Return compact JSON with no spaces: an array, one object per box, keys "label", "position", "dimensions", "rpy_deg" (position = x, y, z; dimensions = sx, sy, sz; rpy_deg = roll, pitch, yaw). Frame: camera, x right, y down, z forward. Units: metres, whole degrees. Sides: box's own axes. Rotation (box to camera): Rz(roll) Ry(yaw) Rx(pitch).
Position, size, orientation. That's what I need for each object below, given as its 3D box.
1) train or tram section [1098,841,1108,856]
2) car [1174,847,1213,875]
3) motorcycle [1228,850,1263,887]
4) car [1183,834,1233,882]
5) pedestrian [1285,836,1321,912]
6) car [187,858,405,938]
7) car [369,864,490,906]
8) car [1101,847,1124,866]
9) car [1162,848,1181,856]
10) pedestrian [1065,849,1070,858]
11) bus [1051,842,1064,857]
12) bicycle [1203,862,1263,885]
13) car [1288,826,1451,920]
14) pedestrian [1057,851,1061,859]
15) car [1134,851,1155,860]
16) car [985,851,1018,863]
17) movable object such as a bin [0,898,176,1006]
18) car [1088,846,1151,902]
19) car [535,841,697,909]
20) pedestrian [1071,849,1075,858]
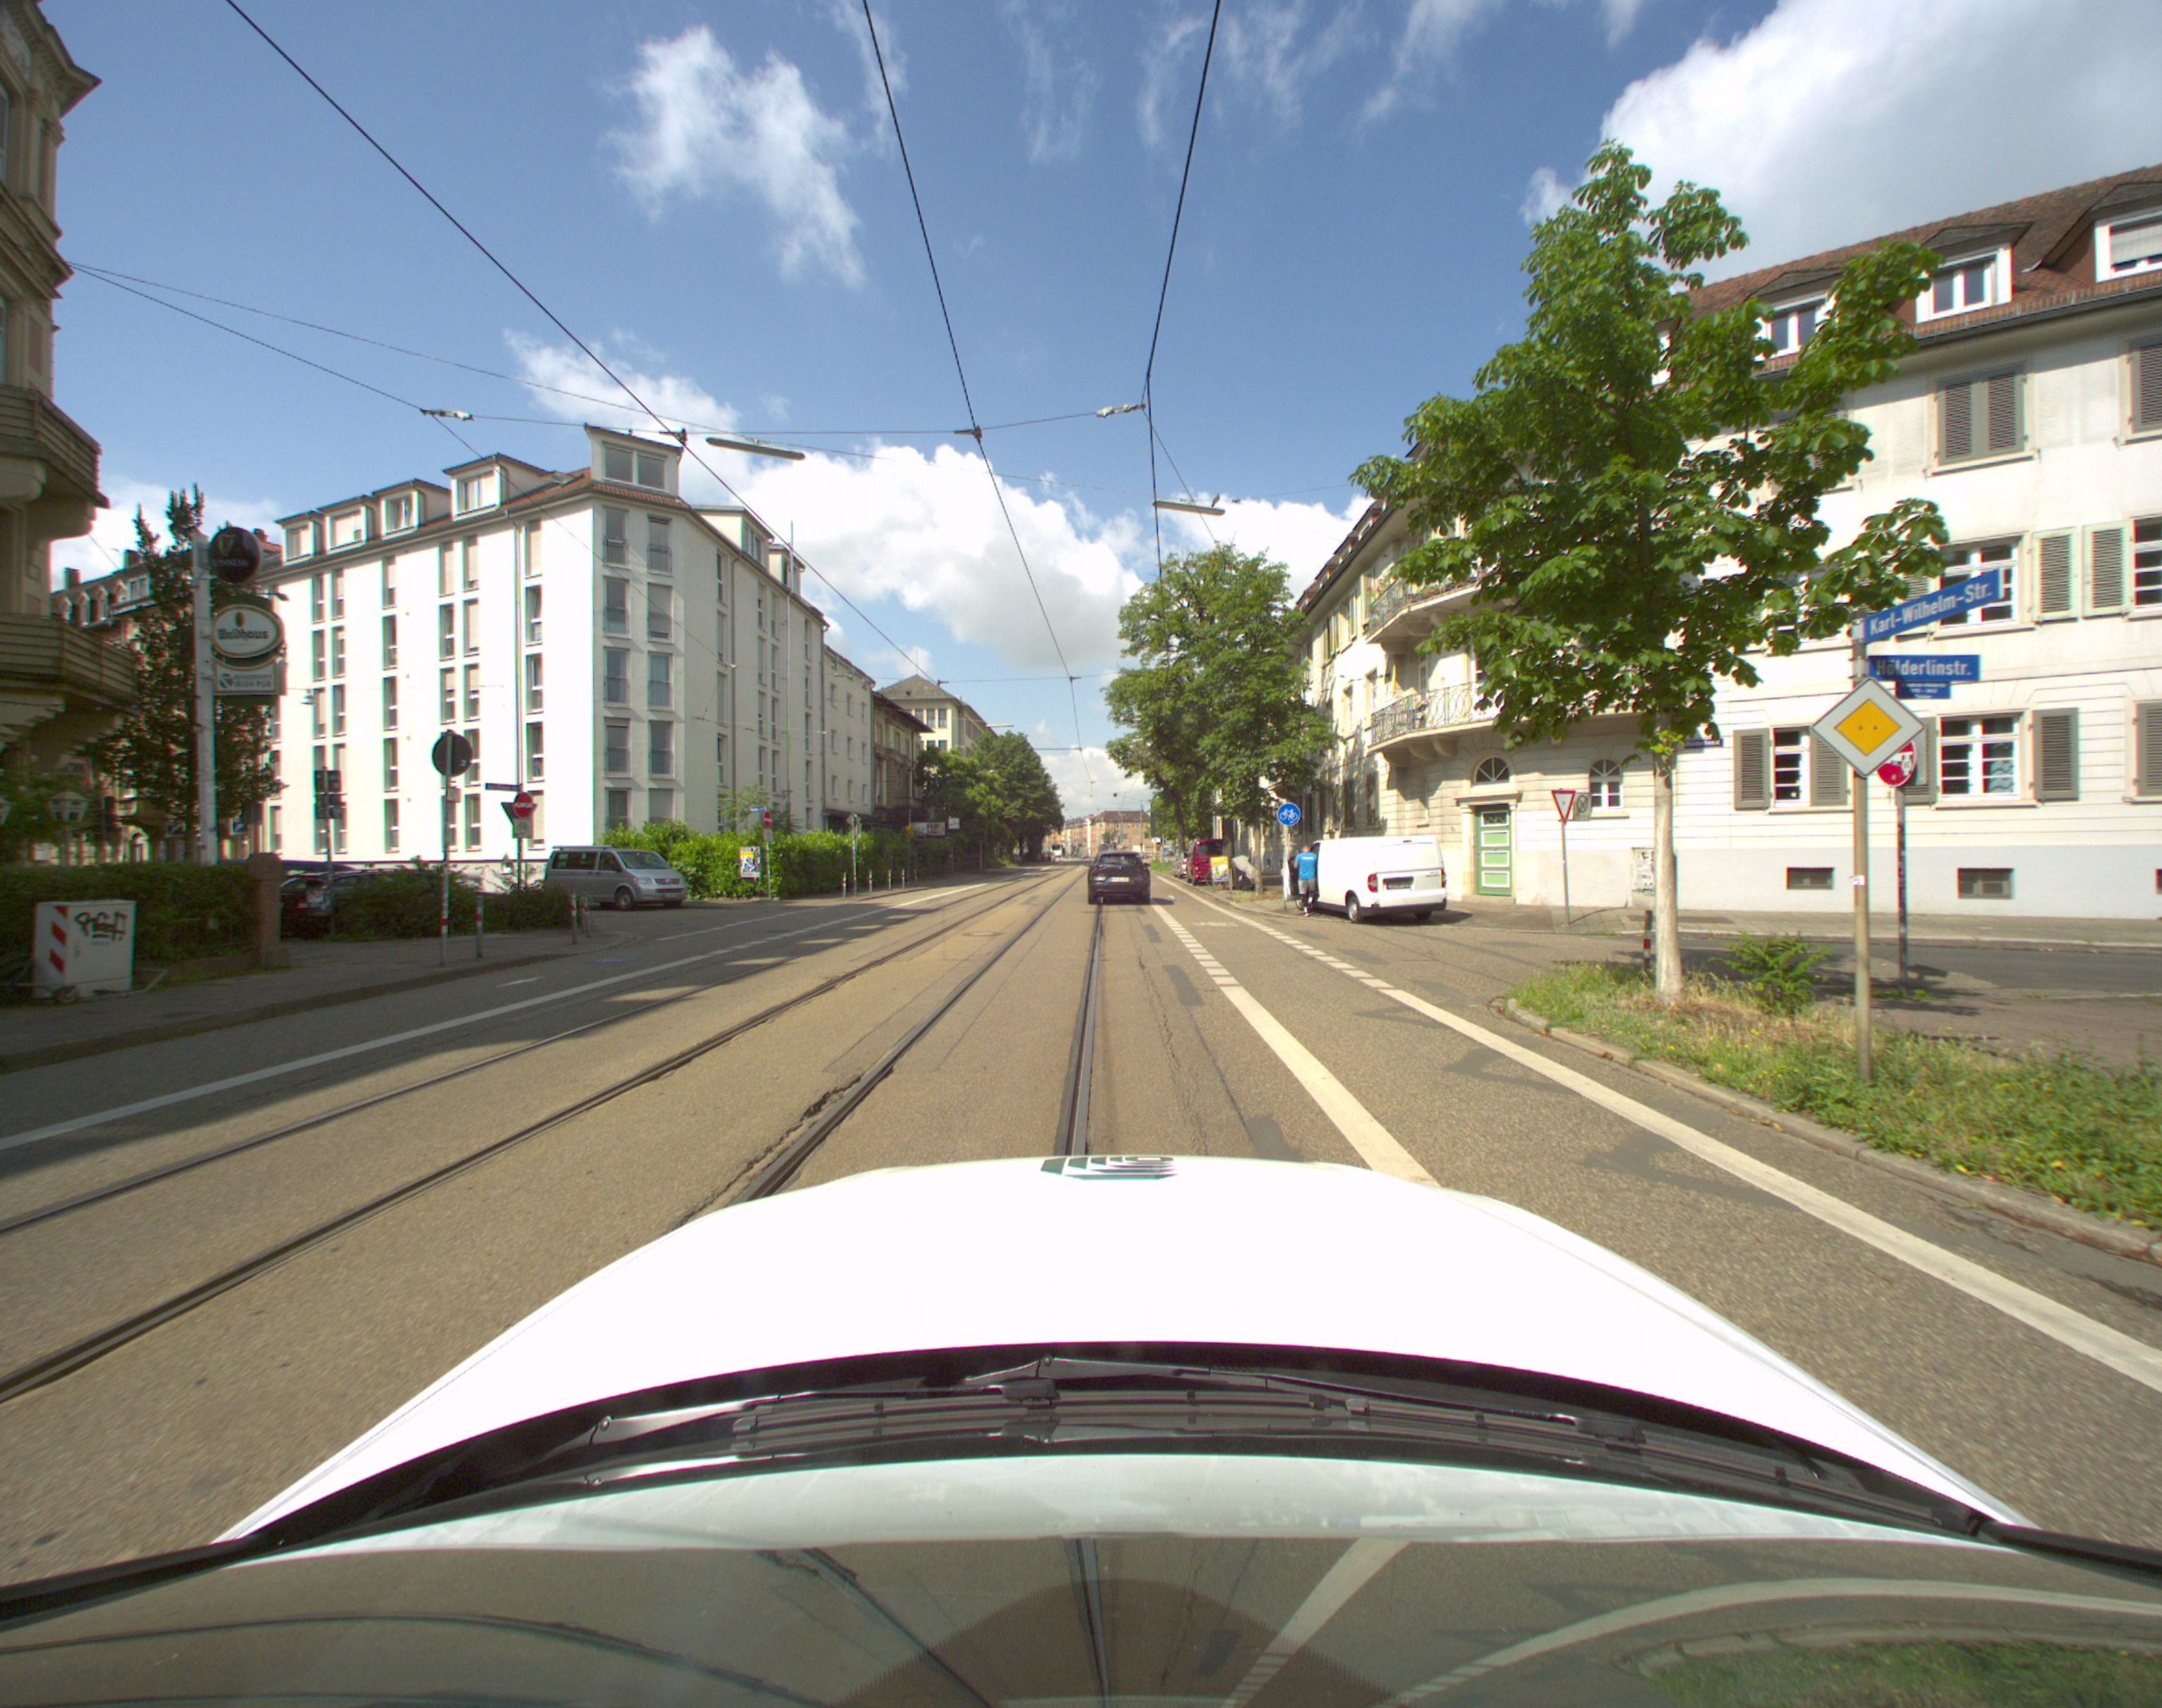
[{"label":"train or tram section","position":[5.914,-1.495,216.071],"dimensions":[2.561,3.772,13.033],"rpy_deg":[-1,0,2]},{"label":"car","position":[6.022,0.367,43.929],"dimensions":[1.714,1.424,3.590],"rpy_deg":[-1,0,1]},{"label":"motorcycle","position":[5.945,0.514,29.533],"dimensions":[0.791,1.271,2.423],"rpy_deg":[-1,0,1]},{"label":"car","position":[5.612,0.163,36.314],"dimensions":[1.714,1.968,4.209],"rpy_deg":[-1,0,2]},{"label":"pedestrian","position":[5.486,0.476,20.119],"dimensions":[0.809,1.835,0.966],"rpy_deg":[0,0,17]},{"label":"car","position":[-17.374,0.910,18.203],"dimensions":[1.377,1.567,3.201],"rpy_deg":[-1,0,21]},{"label":"car","position":[-23.947,1.134,29.941],"dimensions":[3.924,1.413,1.800],"rpy_deg":[-1,0,23]},{"label":"car","position":[2.735,0.198,71.894],"dimensions":[1.986,1.529,4.001],"rpy_deg":[1,0,1]},{"label":"car","position":[19.901,-0.376,178.976],"dimensions":[3.830,1.618,1.622],"rpy_deg":[1,0,-30]},{"label":"pedestrian","position":[-2.888,-0.161,174.519],"dimensions":[0.882,2.013,0.617],"rpy_deg":[-1,0,-3]},{"label":"bus","position":[-5.707,-1.042,196.284],"dimensions":[2.683,3.421,11.000],"rpy_deg":[1,0,-4]},{"label":"bicycle","position":[6.038,0.761,32.474],"dimensions":[2.267,0.861,0.672],"rpy_deg":[-1,0,0]},{"label":"car","position":[6.674,0.371,19.513],"dimensions":[1.784,1.938,4.983],"rpy_deg":[-1,0,-5]},{"label":"pedestrian","position":[-4.043,0.126,150.238],"dimensions":[0.749,1.510,0.823],"rpy_deg":[-1,0,-3]},{"label":"car","position":[12.603,0.357,161.491],"dimensions":[3.815,1.618,1.628],"rpy_deg":[1,0,-17]},{"label":"car","position":[-9.387,0.376,95.813],"dimensions":[3.737,1.287,1.609],"rpy_deg":[1,0,-3]},{"label":"movable object such as a bin","position":[-10.564,0.994,8.595],"dimensions":[0.742,0.988,1.114],"rpy_deg":[1,0,1]},{"label":"car","position":[1.108,0.535,24.190],"dimensions":[1.714,1.526,3.590],"rpy_deg":[-1,0,1]},{"label":"car","position":[-14.782,0.637,25.905],"dimensions":[4.621,2.013,2.058],"rpy_deg":[-1,0,23]},{"label":"pedestrian","position":[-1.702,-0.078,174.571],"dimensions":[0.882,2.013,0.617],"rpy_deg":[-1,0,-3]}]
